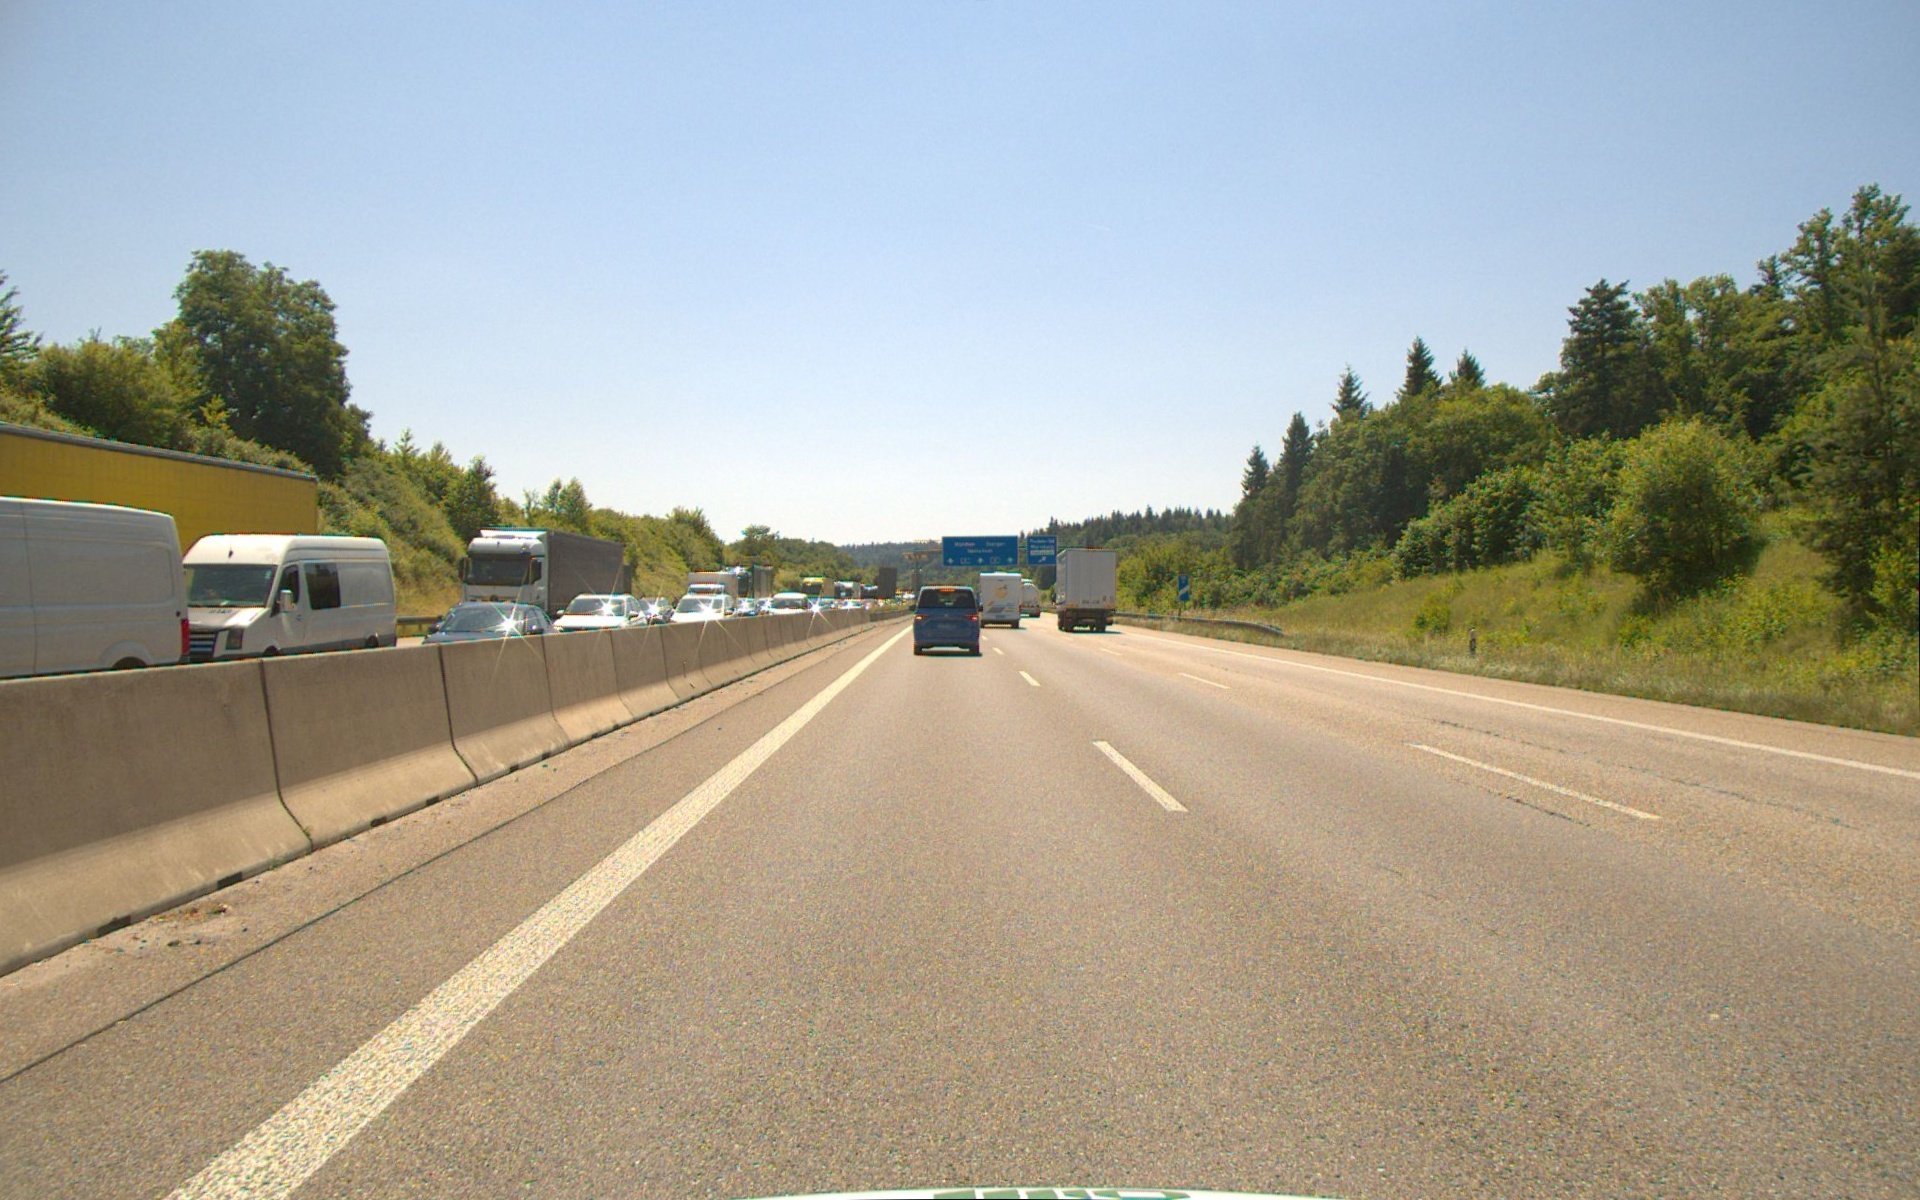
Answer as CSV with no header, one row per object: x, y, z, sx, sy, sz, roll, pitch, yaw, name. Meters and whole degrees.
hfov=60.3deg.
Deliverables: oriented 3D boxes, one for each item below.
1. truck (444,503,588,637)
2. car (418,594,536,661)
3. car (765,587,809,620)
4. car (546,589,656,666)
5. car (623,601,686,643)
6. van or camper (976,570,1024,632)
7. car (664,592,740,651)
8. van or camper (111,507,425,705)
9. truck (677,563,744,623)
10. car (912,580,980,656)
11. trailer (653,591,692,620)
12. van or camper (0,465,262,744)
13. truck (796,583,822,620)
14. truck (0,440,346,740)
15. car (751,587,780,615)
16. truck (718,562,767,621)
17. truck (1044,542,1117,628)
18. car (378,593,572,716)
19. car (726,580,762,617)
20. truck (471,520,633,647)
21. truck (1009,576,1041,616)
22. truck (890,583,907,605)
-16.404,-1.005,61.787,2.882,4.595,8.605,1,-1,1,truck
-12.410,0.695,42.778,1.791,1.592,4.522,1,-1,-2,car
-8.724,0.212,83.801,1.791,1.592,5.109,1,-1,-2,car
-9.043,0.686,42.062,1.791,1.795,4.989,1,-1,-2,car
-12.268,0.869,66.676,1.791,1.592,4.522,1,-1,-2,car
2.253,0.137,94.707,2.550,3.133,7.180,1,-3,0,van or camper
-8.385,0.700,54.109,1.791,1.795,4.989,1,-1,-2,car
-11.799,0.131,29.066,2.151,2.991,7.535,1,-1,1,van or camper
-12.629,-0.330,84.229,2.517,2.895,6.750,1,-1,-2,truck
-0.419,0.456,47.195,1.870,2.049,4.000,0,1,-1,car
-16.432,0.308,94.564,1.660,1.615,3.221,1,-1,-1,trailer
-10.678,0.043,17.947,2.203,2.824,7.223,1,-1,9,van or camper
-17.398,0.191,190.607,2.549,4.136,6.131,1,-1,-2,truck
-16.283,-0.128,30.282,3.620,4.534,16.675,1,-1,1,truck
-12.877,0.077,109.693,1.539,1.762,3.884,1,-1,-1,car
-16.066,-0.584,122.453,2.761,4.277,5.629,1,-1,0,truck
6.166,-0.693,86.123,2.727,4.201,9.736,1,-1,-2,truck
-7.822,0.838,27.184,1.791,1.795,4.989,1,-1,-2,car
-12.353,-0.067,94.831,1.590,2.049,3.999,1,-1,-1,car
-16.332,-0.536,67.599,2.933,4.622,13.924,1,-1,1,truck
6.232,-0.410,159.522,2.867,3.637,8.527,-1,1,1,truck
-8.508,-0.782,229.722,2.076,2.891,6.212,1,-1,0,truck
